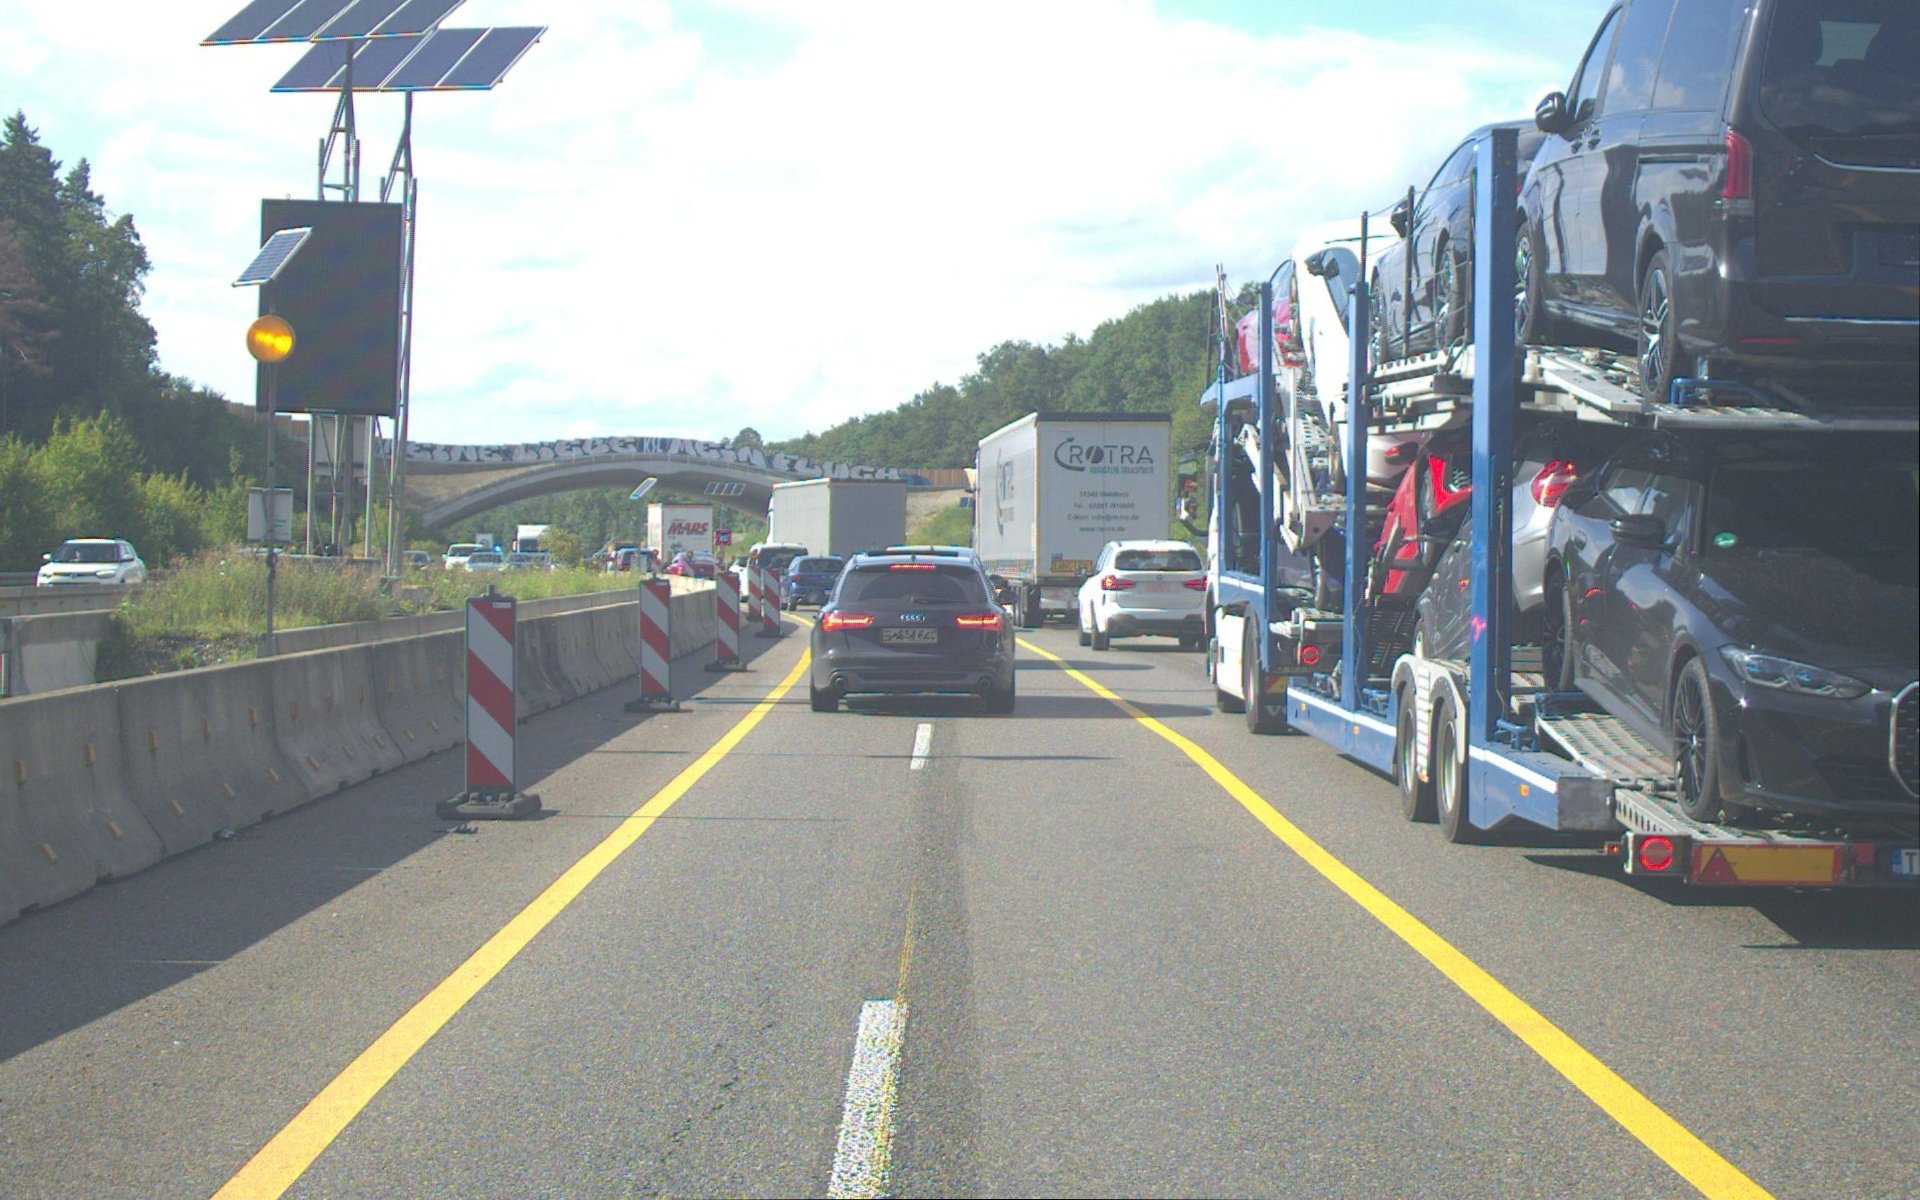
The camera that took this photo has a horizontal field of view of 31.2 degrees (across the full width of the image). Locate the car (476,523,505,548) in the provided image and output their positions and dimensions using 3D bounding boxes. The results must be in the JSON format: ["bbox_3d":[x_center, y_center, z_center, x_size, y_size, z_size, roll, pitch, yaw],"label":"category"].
[{"bbox_3d":[-34.935,-4.805,255.805,1.780,1.860,4.001,1,1,-3],"label":"car"}]

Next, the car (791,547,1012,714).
[{"bbox_3d":[-0.483,0.240,32.109,1.890,1.441,4.000,1,1,1],"label":"car"}]

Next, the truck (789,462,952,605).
[{"bbox_3d":[-3.172,-2.227,117.062,4.318,4.584,11.127,1,1,-7],"label":"truck"}]

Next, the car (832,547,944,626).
[{"bbox_3d":[-1.404,-0.280,65.833,1.890,1.441,4.001,1,1,-5],"label":"car"}]

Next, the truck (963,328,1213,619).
[{"bbox_3d":[2.388,-2.458,71.826,3.677,5.335,16.203,1,1,-3],"label":"truck"}]

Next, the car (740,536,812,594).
[{"bbox_3d":[-5.492,-1.049,102.192,1.890,1.638,4.019,1,1,-6],"label":"car"}]

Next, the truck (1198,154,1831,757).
[{"bbox_3d":[4.168,-1.064,28.110,3.761,4.182,7.951,1,1,-1],"label":"truck"}]

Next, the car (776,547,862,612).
[{"bbox_3d":[-3.667,-0.546,89.064,1.890,1.638,4.019,1,1,-7],"label":"car"}]

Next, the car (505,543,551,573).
[{"bbox_3d":[-23.492,-2.271,187.031,1.968,1.597,4.948,1,1,-2],"label":"car"}]

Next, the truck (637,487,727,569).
[{"bbox_3d":[-14.016,-3.565,172.434,3.653,3.915,11.070,1,1,-9],"label":"truck"}]

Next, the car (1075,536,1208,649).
[{"bbox_3d":[2.748,-0.137,52.698,1.890,1.638,4.018,1,1,1],"label":"car"}]

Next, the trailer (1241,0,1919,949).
[{"bbox_3d":[4.284,-0.958,20.213,3.726,4.182,16.228,1,1,-1],"label":"trailer"}]

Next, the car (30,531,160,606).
[{"bbox_3d":[-19.169,-0.698,76.336,1.778,1.597,4.018,1,1,1],"label":"car"}]
